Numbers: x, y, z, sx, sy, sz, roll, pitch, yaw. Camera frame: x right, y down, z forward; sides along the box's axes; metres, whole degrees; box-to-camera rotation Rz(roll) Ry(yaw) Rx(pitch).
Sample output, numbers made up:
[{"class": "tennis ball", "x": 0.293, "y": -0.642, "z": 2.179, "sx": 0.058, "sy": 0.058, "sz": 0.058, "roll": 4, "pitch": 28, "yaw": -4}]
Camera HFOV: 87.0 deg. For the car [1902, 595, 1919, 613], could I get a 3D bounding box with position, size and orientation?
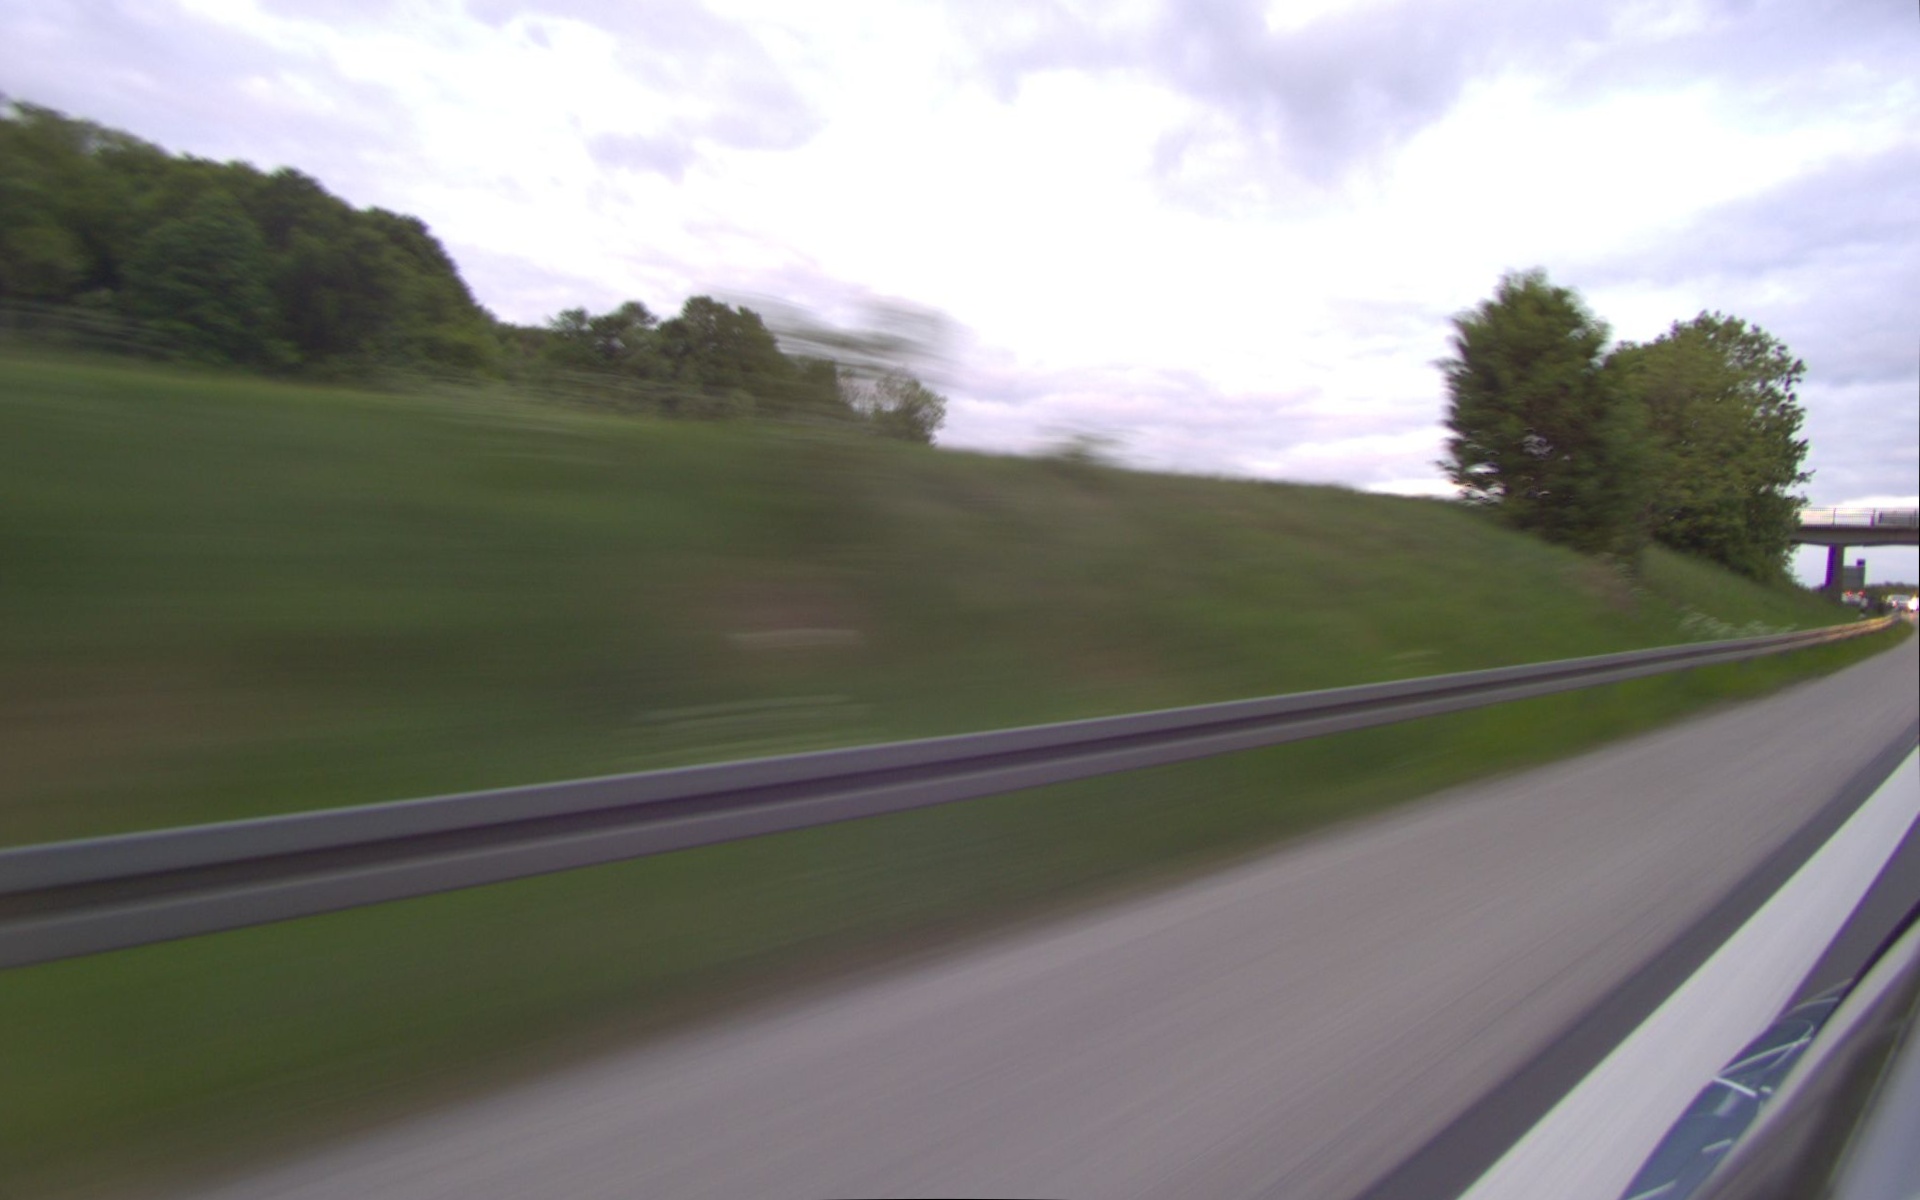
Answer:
[{"class": "car", "x": 107.544, "y": 0.510, "z": 114.003, "sx": 1.914, "sy": 1.860, "sz": 3.940, "roll": 4, "pitch": 2, "yaw": 41}]
